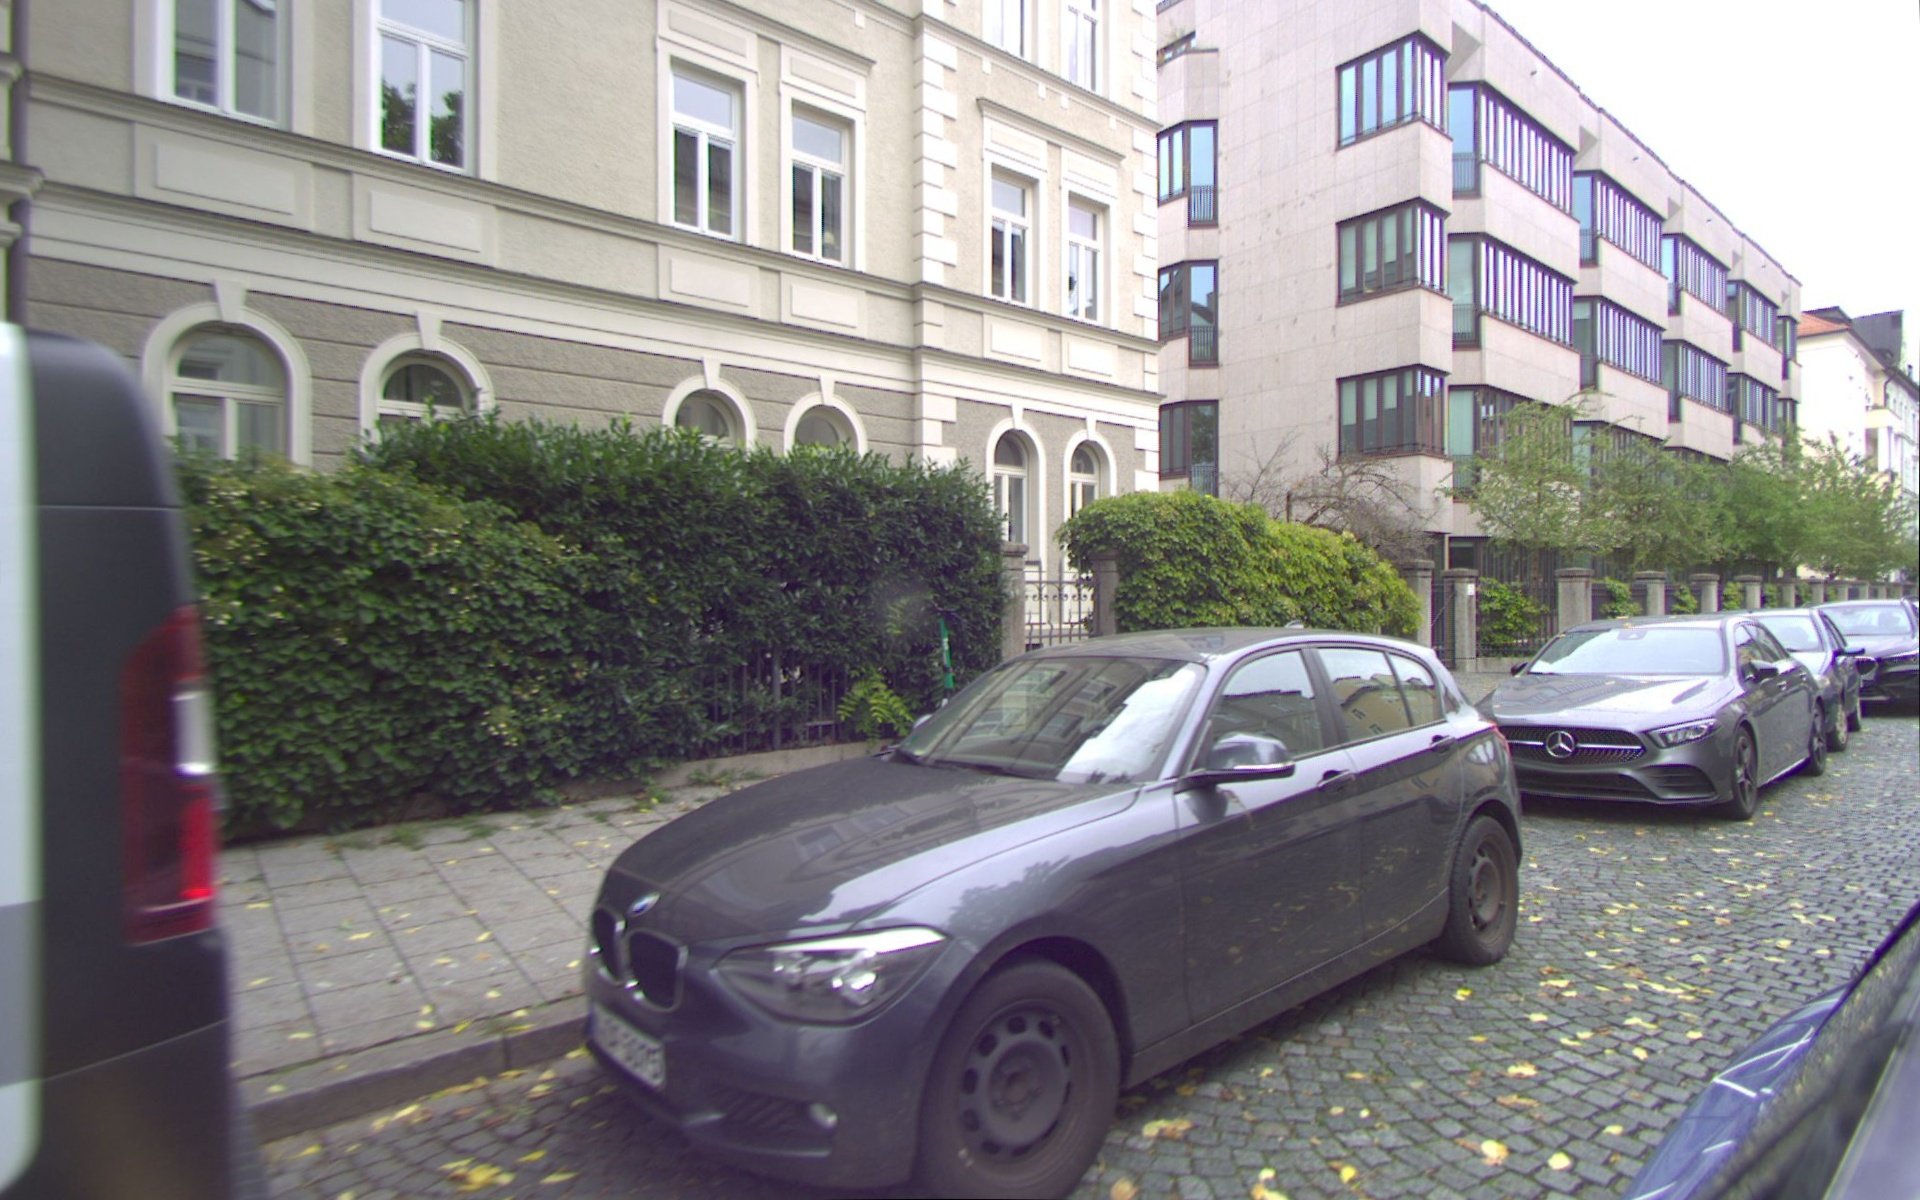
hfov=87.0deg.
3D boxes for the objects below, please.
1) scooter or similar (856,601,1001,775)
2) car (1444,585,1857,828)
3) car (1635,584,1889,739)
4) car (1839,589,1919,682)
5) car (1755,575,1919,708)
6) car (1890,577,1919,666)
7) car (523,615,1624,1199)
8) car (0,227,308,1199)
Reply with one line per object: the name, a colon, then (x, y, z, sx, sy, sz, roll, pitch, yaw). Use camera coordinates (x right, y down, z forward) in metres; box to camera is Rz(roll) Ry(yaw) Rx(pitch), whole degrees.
scooter or similar: (-0.225, 0.644, 8.015, 0.413, 1.249, 1.229, 3, 2, 38)
car: (5.781, 0.678, 8.264, 4.194, 1.491, 1.715, 0, -3, -41)
car: (9.209, 0.609, 11.502, 3.994, 1.459, 1.694, 0, -3, -44)
car: (17.390, 0.581, 17.923, 4.532, 1.510, 1.877, 0, -3, -38)
car: (13.536, 0.547, 14.915, 4.574, 1.691, 1.876, 0, -2, -40)
car: (21.169, 0.384, 21.270, 4.666, 1.758, 1.875, 0, -3, -42)
car: (0.789, 0.881, 4.065, 4.342, 1.509, 1.840, 0, -3, -39)
car: (-3.486, 0.536, 0.533, 5.075, 1.953, 1.875, 0, -3, -42)
